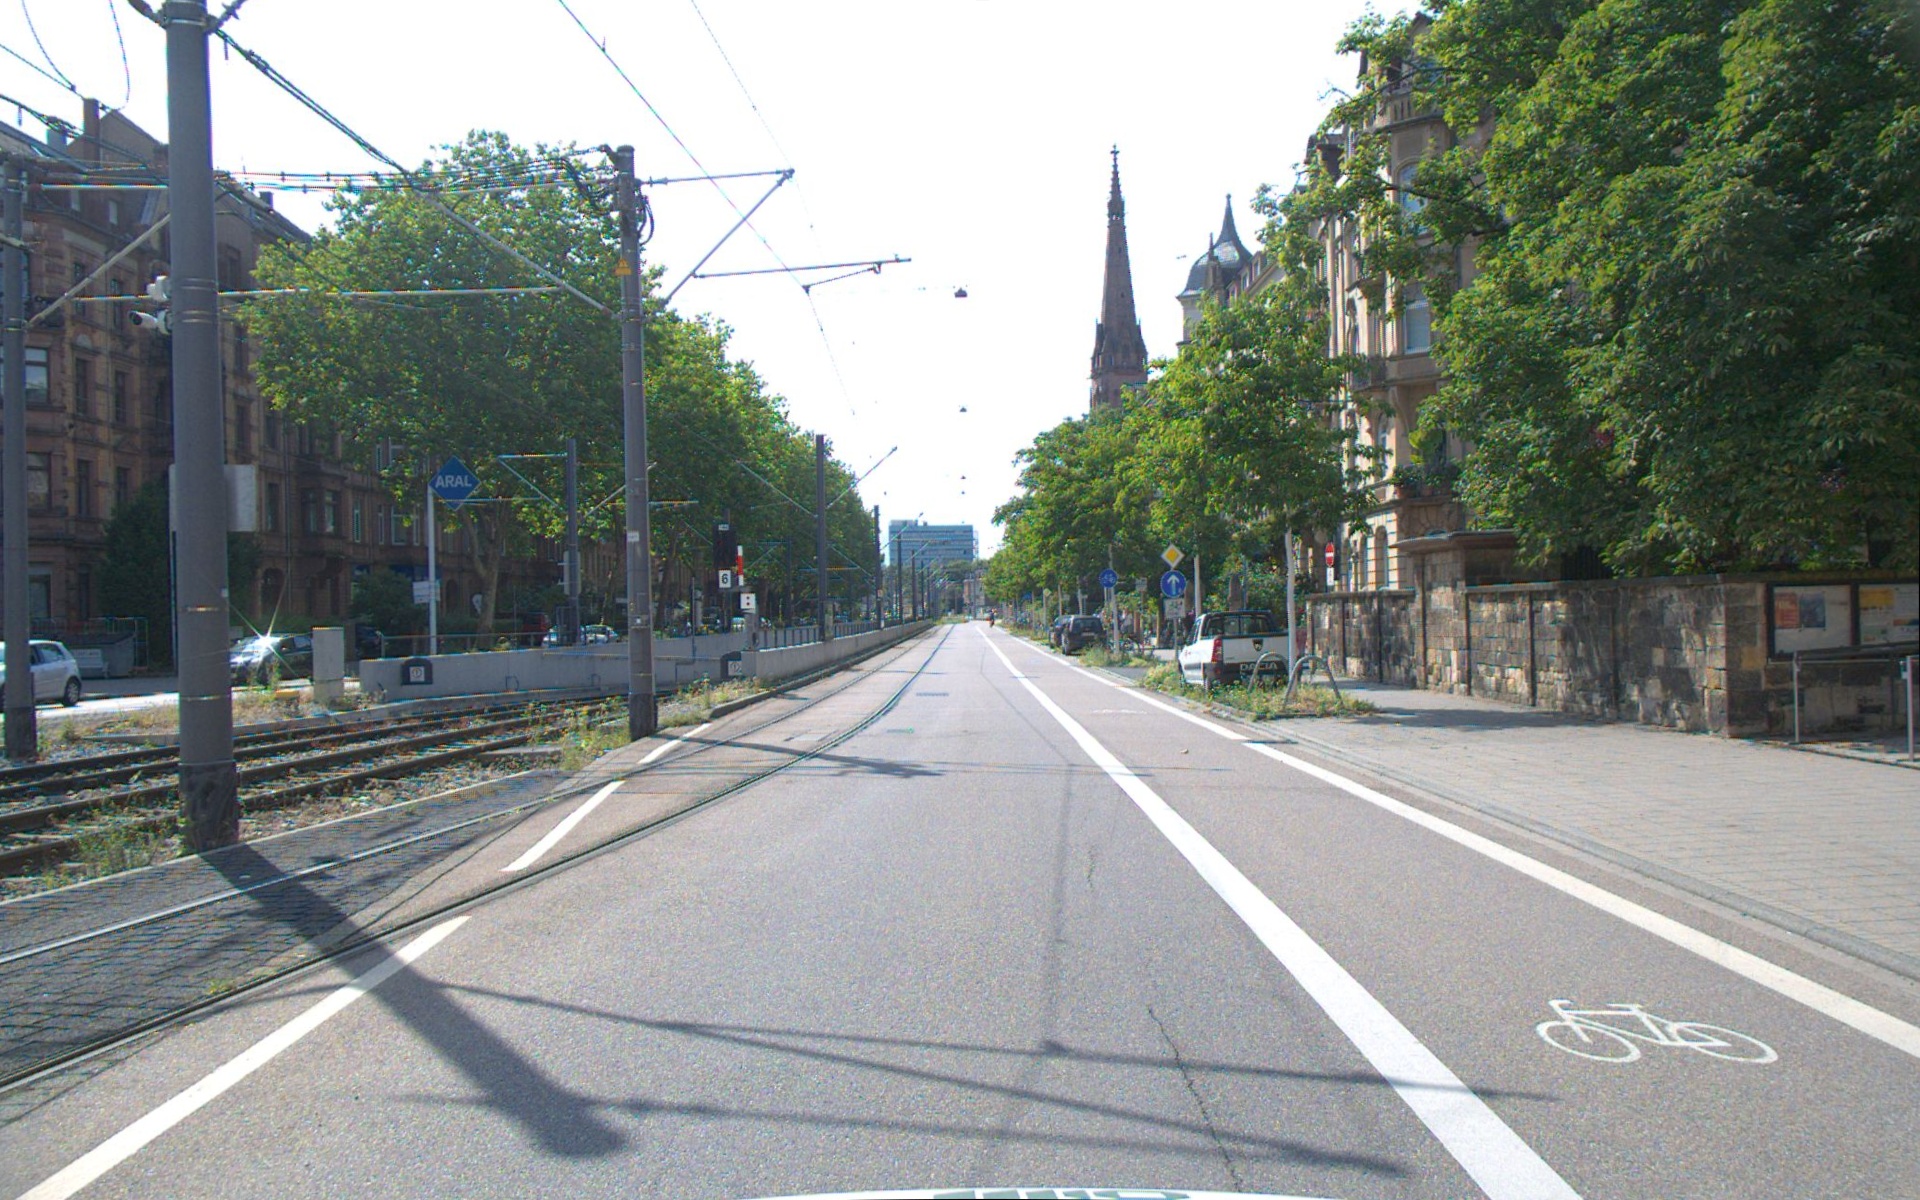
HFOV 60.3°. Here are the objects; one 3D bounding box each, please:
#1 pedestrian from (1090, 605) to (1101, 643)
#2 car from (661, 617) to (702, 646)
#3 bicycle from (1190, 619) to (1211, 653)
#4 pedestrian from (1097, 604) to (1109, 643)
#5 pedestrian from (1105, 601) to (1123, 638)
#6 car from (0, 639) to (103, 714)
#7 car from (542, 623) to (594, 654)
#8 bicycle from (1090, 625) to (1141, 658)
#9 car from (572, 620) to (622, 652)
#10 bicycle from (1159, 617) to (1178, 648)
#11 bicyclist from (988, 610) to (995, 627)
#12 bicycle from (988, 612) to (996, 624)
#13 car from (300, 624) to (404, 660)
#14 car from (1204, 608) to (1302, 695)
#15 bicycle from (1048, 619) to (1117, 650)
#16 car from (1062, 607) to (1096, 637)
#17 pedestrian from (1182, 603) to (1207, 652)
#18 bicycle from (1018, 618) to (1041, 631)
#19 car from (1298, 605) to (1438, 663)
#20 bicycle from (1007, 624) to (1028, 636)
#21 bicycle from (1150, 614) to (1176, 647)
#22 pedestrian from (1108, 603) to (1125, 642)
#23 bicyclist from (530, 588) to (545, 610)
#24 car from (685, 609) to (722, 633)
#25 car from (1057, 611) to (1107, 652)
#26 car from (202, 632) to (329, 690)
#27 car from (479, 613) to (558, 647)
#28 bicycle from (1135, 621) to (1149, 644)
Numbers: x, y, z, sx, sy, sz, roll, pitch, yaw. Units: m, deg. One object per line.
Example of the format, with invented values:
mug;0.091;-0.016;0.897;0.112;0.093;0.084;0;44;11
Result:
pedestrian;6.377;1.118;77.921;0.311;1.736;0.461;-4;0;14
car;-18.908;2.124;112.355;1.682;1.720;3.732;-3;0;6
bicycle;8.238;1.228;56.670;0.460;1.128;1.711;-1;-1;0
pedestrian;6.798;1.130;78.681;0.450;1.836;0.319;-4;0;-2
pedestrian;7.150;0.909;76.859;0.520;1.705;0.571;-3;0;-18
car;-20.472;1.652;35.554;1.686;1.441;4.406;-2;0;2
car;-18.892;1.828;79.744;1.466;1.326;3.492;-4;0;2
bicycle;5.383;1.419;57.165;1.673;1.088;0.471;-1;-1;-6
car;-18.888;1.846;86.192;1.610;1.508;4.001;-4;0;0
bicycle;8.156;1.272;64.652;0.419;1.159;2.023;-4;-1;0
bicyclist;3.299;1.946;172.581;0.755;1.760;1.026;-1;-1;1
bicycle;3.304;1.876;172.466;0.782;1.258;2.778;-1;0;1
car;-27.588;1.913;75.127;3.904;1.509;2.000;-1;-1;2
car;5.257;0.878;30.011;1.633;1.441;3.847;0;0;8
bicycle;5.395;1.513;72.750;2.895;1.268;0.790;-1;-1;-13
car;6.109;1.114;84.538;1.633;1.441;3.588;-1;0;5
pedestrian;8.048;0.928;56.765;0.708;1.657;0.725;-1;-1;0
bicycle;5.690;1.998;135.032;1.780;0.918;0.651;-4;0;-3
car;11.831;0.990;48.160;3.663;1.583;1.757;-1;-1;3
bicycle;5.277;2.732;151.225;1.780;0.918;0.603;-4;0;-3
bicycle;8.262;1.214;67.509;0.644;1.270;2.943;-4;-1;0
pedestrian;7.443;1.075;78.766;0.656;1.836;0.319;-4;0;-2
bicyclist;-28.343;-0.049;110.962;0.674;1.481;1.044;-1;-1;0
car;-19.591;1.576;126.641;1.952;1.665;4.001;-4;0;2
car;4.853;1.236;66.253;1.651;1.528;4.708;-1;0;1
car;-19.271;1.660;46.059;1.633;1.441;3.785;-1;0;5
car;-27.274;1.837;102.254;4.312;1.952;1.999;-1;-1;-2
bicycle;8.208;1.459;74.637;0.419;0.956;1.807;-4;-1;0
